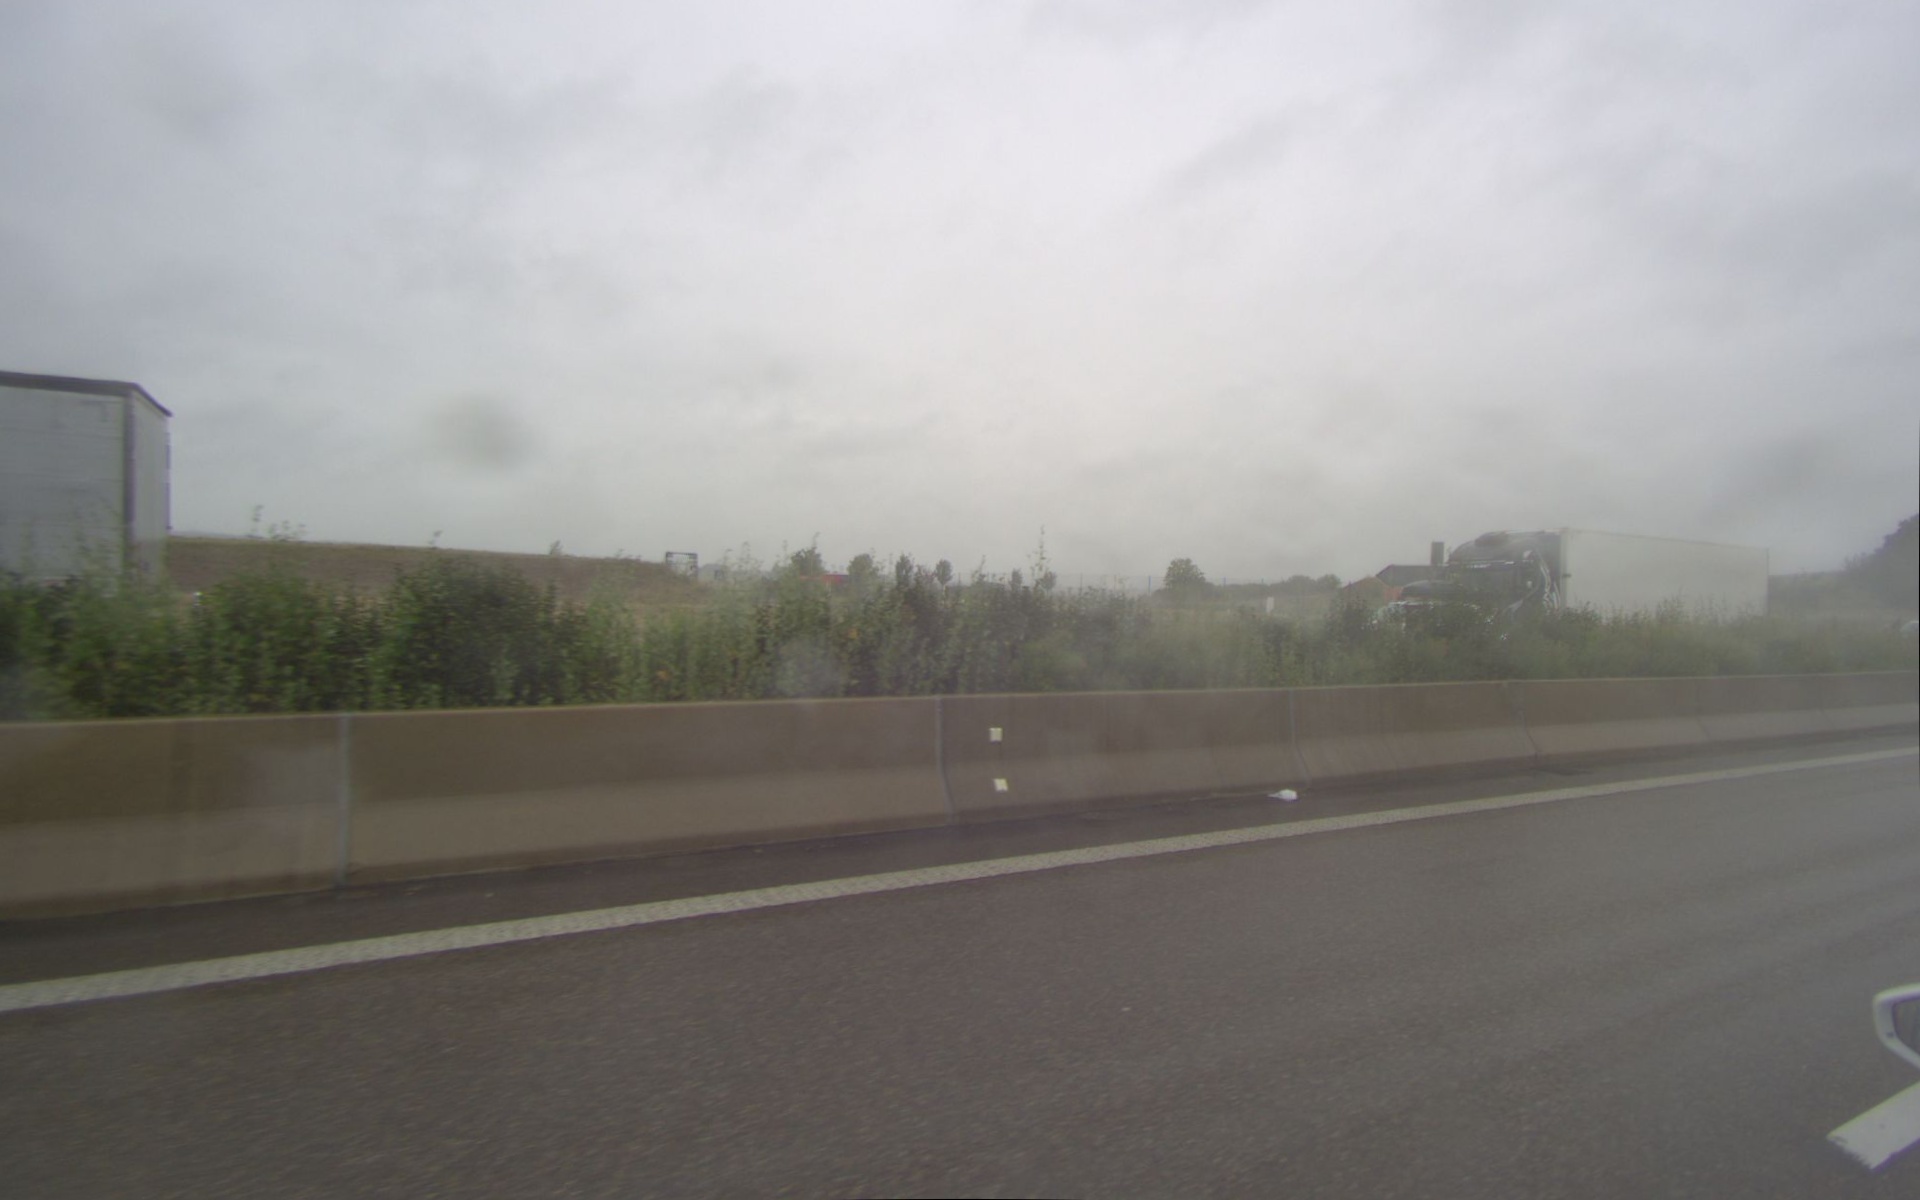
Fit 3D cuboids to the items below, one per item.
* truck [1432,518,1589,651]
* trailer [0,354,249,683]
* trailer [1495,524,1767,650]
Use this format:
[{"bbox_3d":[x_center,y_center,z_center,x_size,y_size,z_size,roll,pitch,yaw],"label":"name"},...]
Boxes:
[{"bbox_3d":[16.957,-0.404,30.904,4.755,3.831,1.984,1,0,-30],"label":"truck"},{"bbox_3d":[-16.825,-1.178,12.192,13.088,4.308,2.803,2,0,-32],"label":"trailer"},{"bbox_3d":[23.583,-0.230,34.776,13.696,3.815,1.984,2,0,-30],"label":"trailer"}]
